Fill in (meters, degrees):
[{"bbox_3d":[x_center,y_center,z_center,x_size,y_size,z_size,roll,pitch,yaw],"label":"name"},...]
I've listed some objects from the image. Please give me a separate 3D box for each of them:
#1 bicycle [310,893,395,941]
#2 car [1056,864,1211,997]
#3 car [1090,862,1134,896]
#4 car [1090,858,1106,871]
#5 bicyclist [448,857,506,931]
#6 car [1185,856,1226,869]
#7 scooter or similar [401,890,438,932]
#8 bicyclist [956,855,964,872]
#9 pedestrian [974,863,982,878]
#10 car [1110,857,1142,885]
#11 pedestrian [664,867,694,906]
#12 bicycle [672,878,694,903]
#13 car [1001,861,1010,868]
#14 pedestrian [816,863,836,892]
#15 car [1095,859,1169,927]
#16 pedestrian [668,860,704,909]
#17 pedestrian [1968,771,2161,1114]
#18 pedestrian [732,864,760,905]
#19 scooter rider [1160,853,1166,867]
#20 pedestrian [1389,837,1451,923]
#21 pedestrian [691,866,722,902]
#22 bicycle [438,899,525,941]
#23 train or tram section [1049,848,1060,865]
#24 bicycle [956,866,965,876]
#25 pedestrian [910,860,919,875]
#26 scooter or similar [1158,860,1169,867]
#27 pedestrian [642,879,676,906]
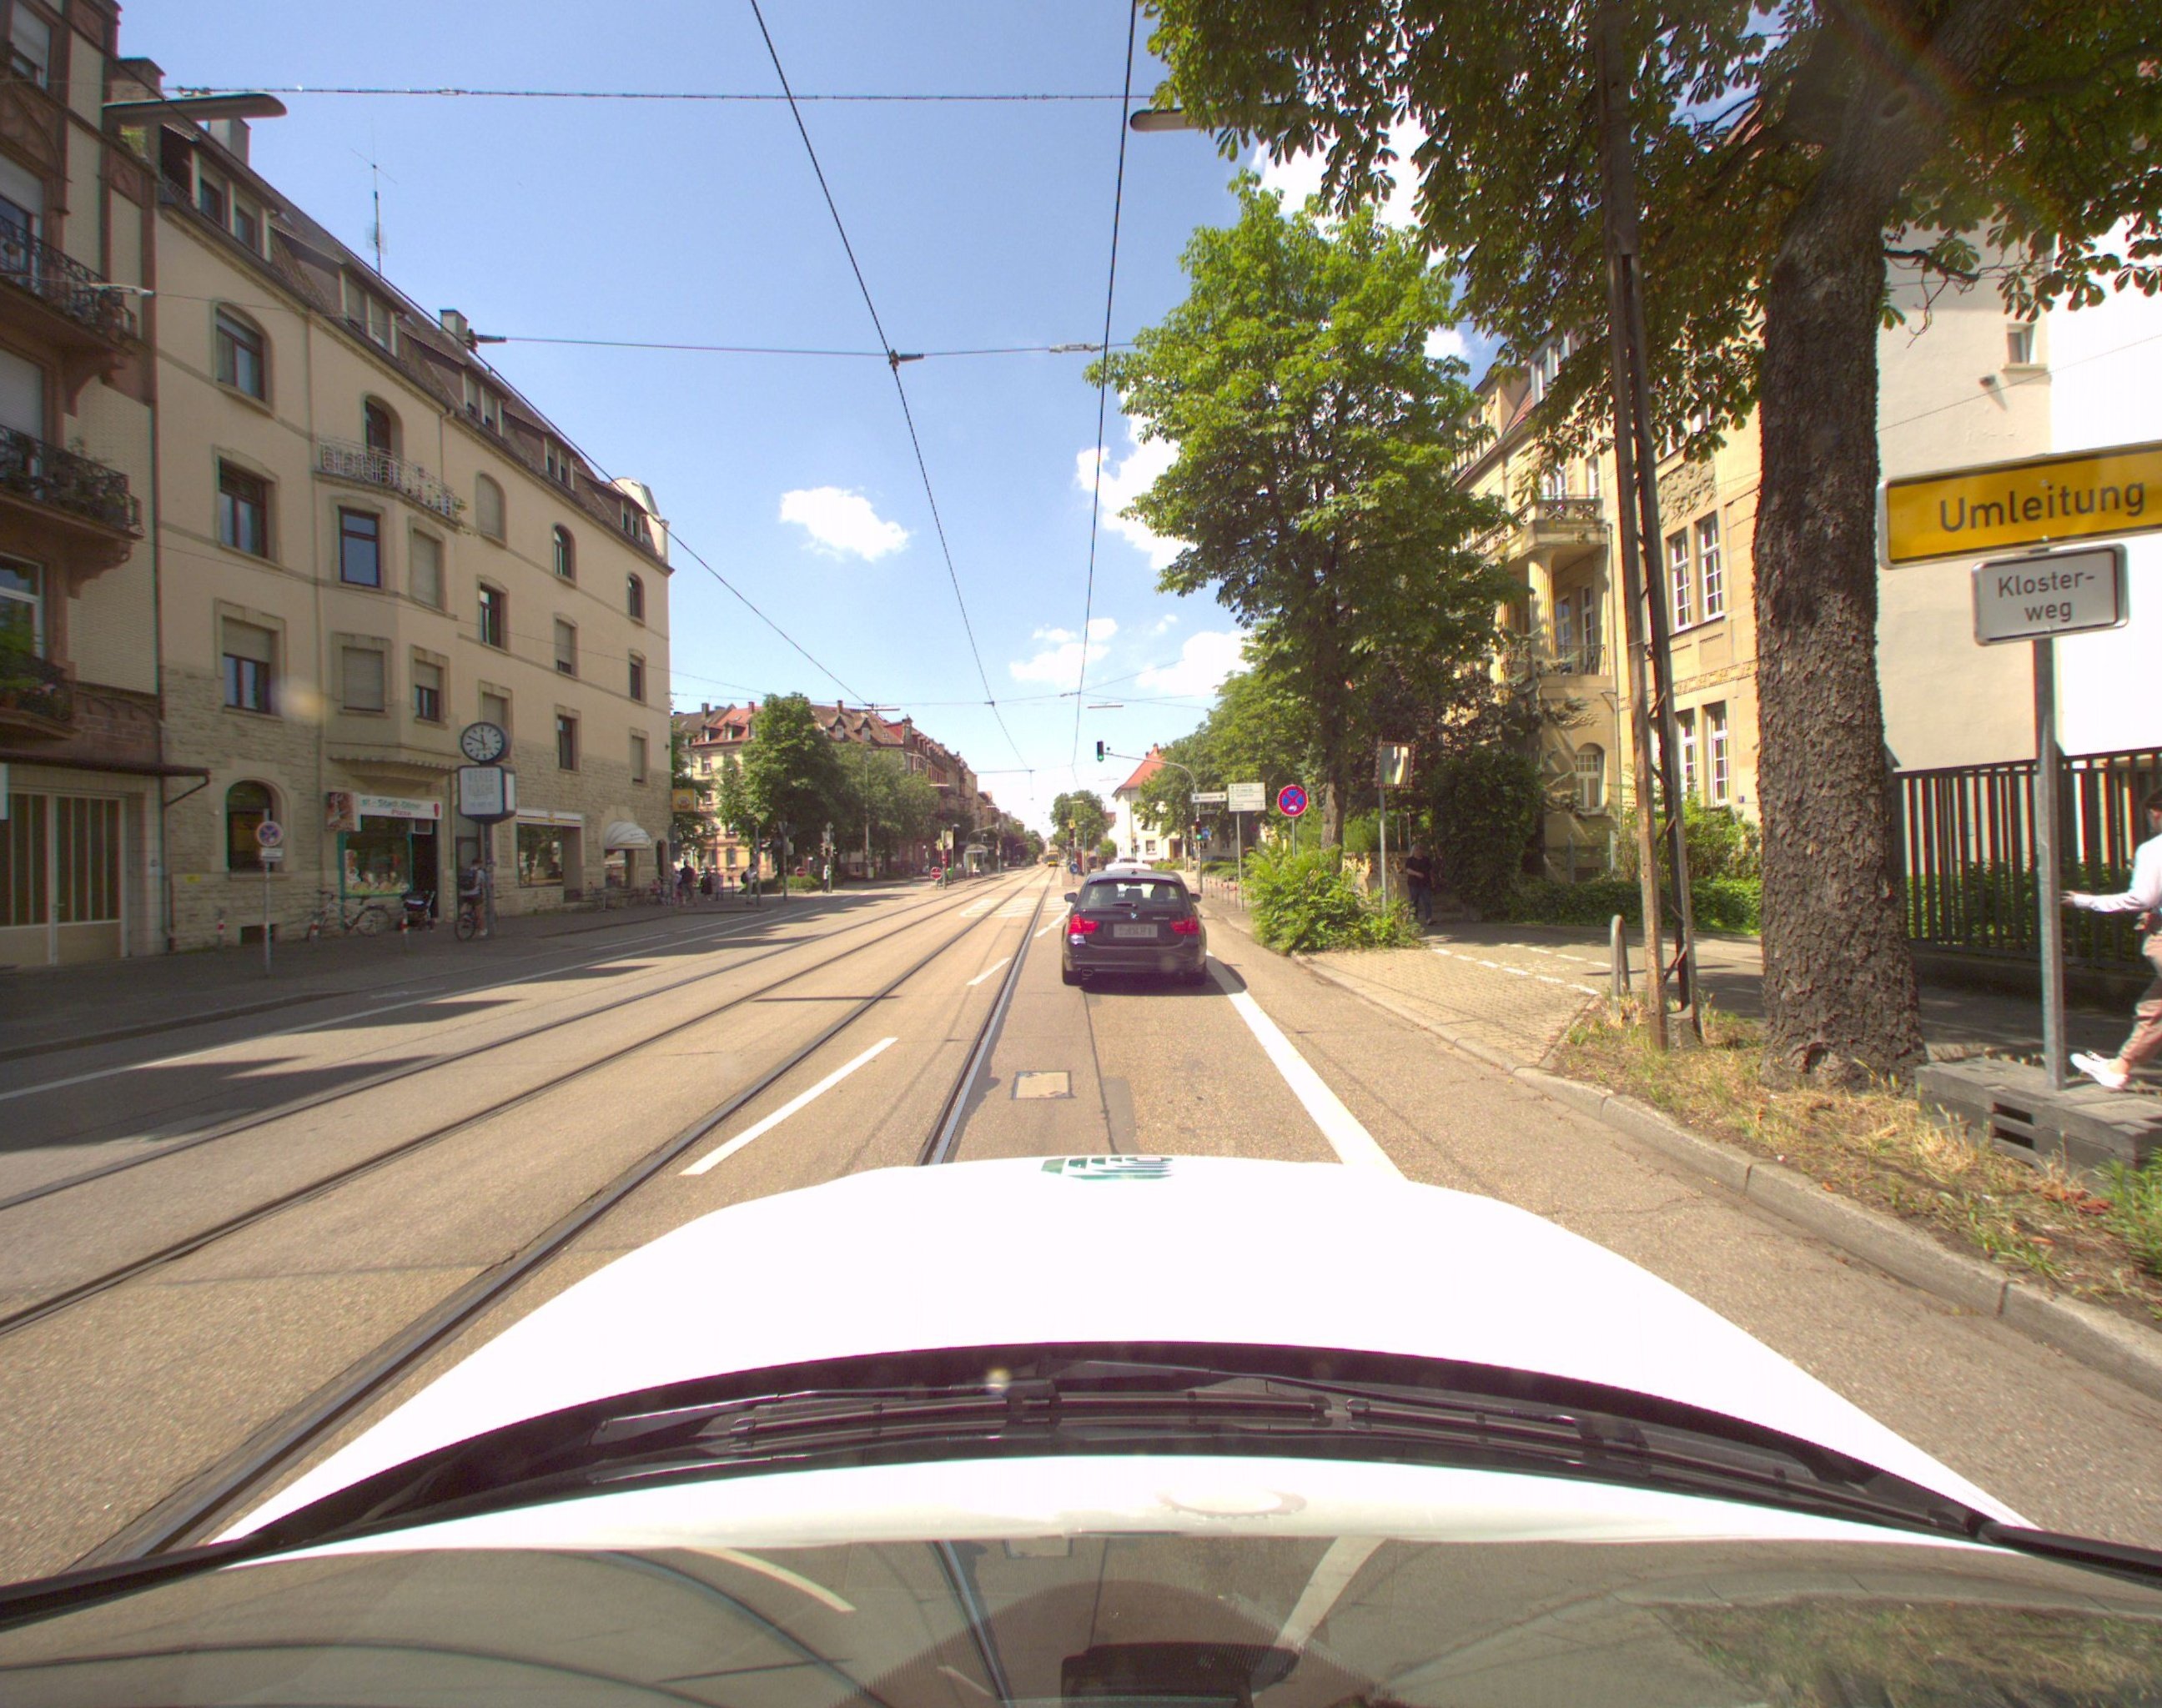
[{"bbox_3d":[-17.313,1.483,19.382,0.366,1.066,1.472,-1,-2,22],"label":"bicycle"},{"bbox_3d":[0.733,0.878,11.342,1.715,1.409,4.569,0,0,4],"label":"car"},{"bbox_3d":[1.268,1.020,34.648,1.686,1.323,3.820,-2,0,-1],"label":"car"},{"bbox_3d":[2.500,1.556,120.138,1.990,1.849,3.993,-2,0,-5],"label":"car"},{"bbox_3d":[-14.083,0.918,19.015,0.755,1.663,0.829,0,-1,-6],"label":"bicyclist"},{"bbox_3d":[13.250,0.940,86.609,3.948,1.243,1.634,-2,0,33],"label":"car"},{"bbox_3d":[-17.547,1.493,21.586,0.700,1.044,1.195,1,-1,-42],"label":"scooter or similar"},{"bbox_3d":[-13.652,1.082,92.058,0.721,1.870,0.825,-2,-1,-2],"label":"bicyclist"},{"bbox_3d":[-8.819,1.439,69.893,0.613,1.243,0.626,-2,-1,-7],"label":"pedestrian"},{"bbox_3d":[2.560,0.943,46.725,1.685,1.514,3.823,-1,0,2],"label":"car"},{"bbox_3d":[-17.269,1.391,34.970,0.805,1.595,0.918,-2,-1,-3],"label":"pedestrian"},{"bbox_3d":[-18.470,1.699,37.785,0.547,1.128,1.663,-1,-3,-39],"label":"bicycle"},{"bbox_3d":[-18.080,2.454,194.183,1.787,1.586,3.986,0,-1,-10],"label":"car"},{"bbox_3d":[-15.652,1.460,49.976,0.844,1.723,0.908,-1,-1,-39],"label":"pedestrian"},{"bbox_3d":[1.261,0.917,20.671,1.678,1.484,3.687,-2,0,2],"label":"car"},{"bbox_3d":[-15.883,1.210,32.760,0.898,1.891,1.163,-1,-1,-2],"label":"pedestrian"},{"bbox_3d":[5.574,0.418,4.256,0.764,1.651,0.974,-2,0,0],"label":"pedestrian"},{"bbox_3d":[-14.460,1.309,35.194,0.857,1.732,0.775,0,-1,0],"label":"pedestrian"},{"bbox_3d":[9.987,0.704,98.827,0.590,1.687,0.527,-2,-1,-7],"label":"scooter rider"},{"bbox_3d":[6.715,0.508,16.168,0.853,1.645,0.838,-2,-1,5],"label":"pedestrian"},{"bbox_3d":[-17.746,1.417,38.561,1.013,1.635,0.868,-2,-1,31],"label":"pedestrian"},{"bbox_3d":[-14.072,1.535,19.190,0.750,0.817,1.818,-2,0,-3],"label":"bicycle"},{"bbox_3d":[-5.742,0.504,176.644,2.184,3.482,8.838,-2,0,-2],"label":"train or tram section"},{"bbox_3d":[-13.637,1.948,92.137,0.727,1.101,1.713,-2,0,-3],"label":"bicycle"},{"bbox_3d":[-20.157,1.617,98.407,0.632,1.811,0.745,-2,-1,37],"label":"pedestrian"},{"bbox_3d":[10.012,1.193,98.819,1.310,0.837,0.525,-2,-1,-7],"label":"scooter or similar"},{"bbox_3d":[-17.792,1.602,34.360,0.913,1.077,0.882,-2,-1,-1],"label":"pedestrian"}]
